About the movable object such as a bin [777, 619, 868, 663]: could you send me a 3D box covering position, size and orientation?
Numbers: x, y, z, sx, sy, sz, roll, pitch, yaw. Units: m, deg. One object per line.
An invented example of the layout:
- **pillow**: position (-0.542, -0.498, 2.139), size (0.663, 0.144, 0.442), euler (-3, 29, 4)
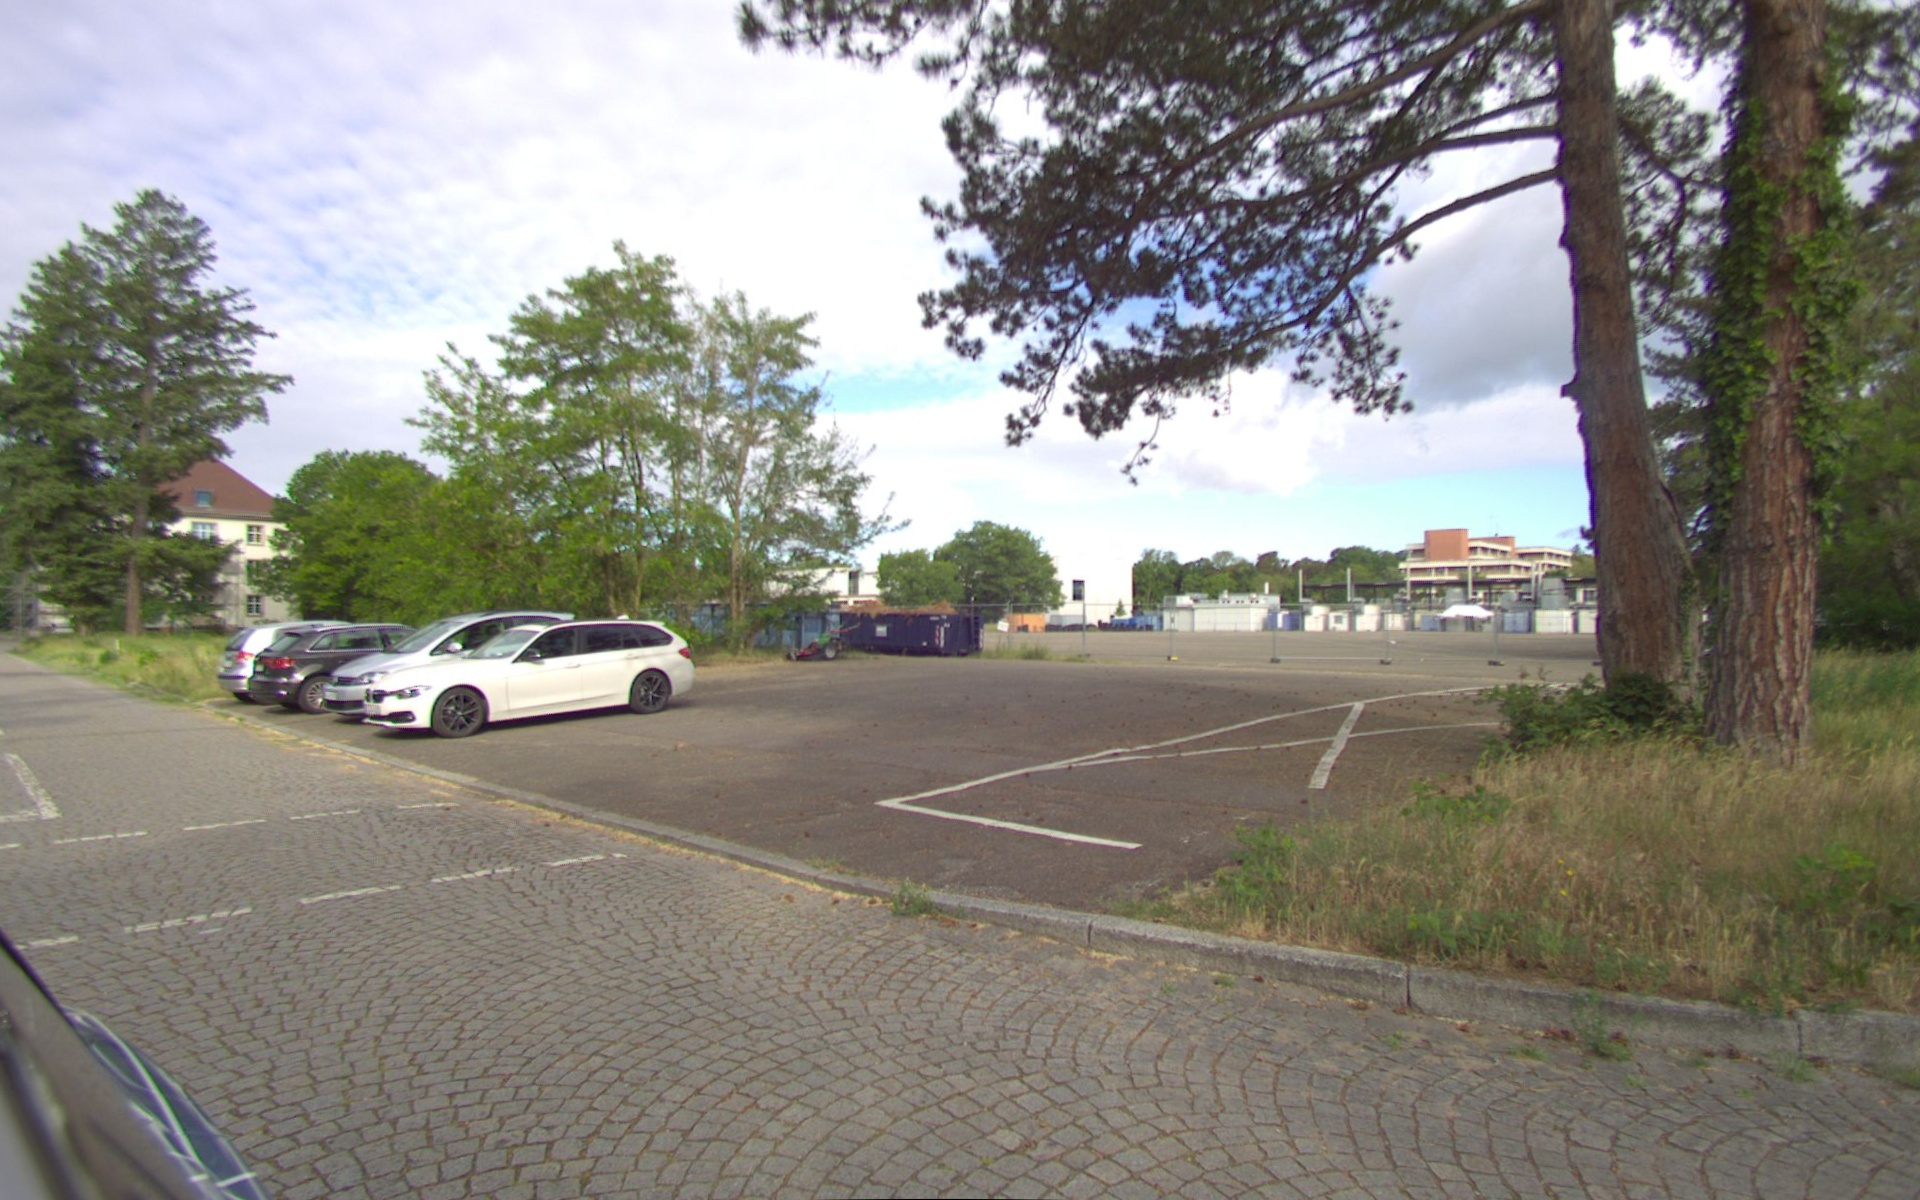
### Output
- **movable object such as a bin**: position (-4.048, 1.187, 29.997), size (1.171, 1.221, 2.503), euler (-1, -2, 44)

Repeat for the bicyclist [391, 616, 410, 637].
- **bicyclist**: position (-51.501, 2.427, 93.175), size (1.299, 1.882, 1.252), euler (1, -2, -40)

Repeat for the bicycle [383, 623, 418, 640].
- **bicycle**: position (-51.484, 2.888, 93.140), size (2.634, 1.516, 1.274), euler (1, -2, -41)

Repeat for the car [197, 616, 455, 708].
- **car**: position (-12.276, 1.124, 19.806), size (1.679, 1.467, 3.934), euler (-1, 1, 40)

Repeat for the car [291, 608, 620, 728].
- **car**: position (-8.037, 0.986, 16.480), size (1.846, 1.602, 4.428), euler (-1, 0, 40)

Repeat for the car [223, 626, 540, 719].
- **car**: position (-10.189, 1.188, 18.125), size (1.884, 1.433, 4.571), euler (-1, -2, 41)

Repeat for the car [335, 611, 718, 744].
- **car**: position (-6.099, 0.976, 14.734), size (1.913, 1.450, 4.755), euler (-1, 1, 42)
